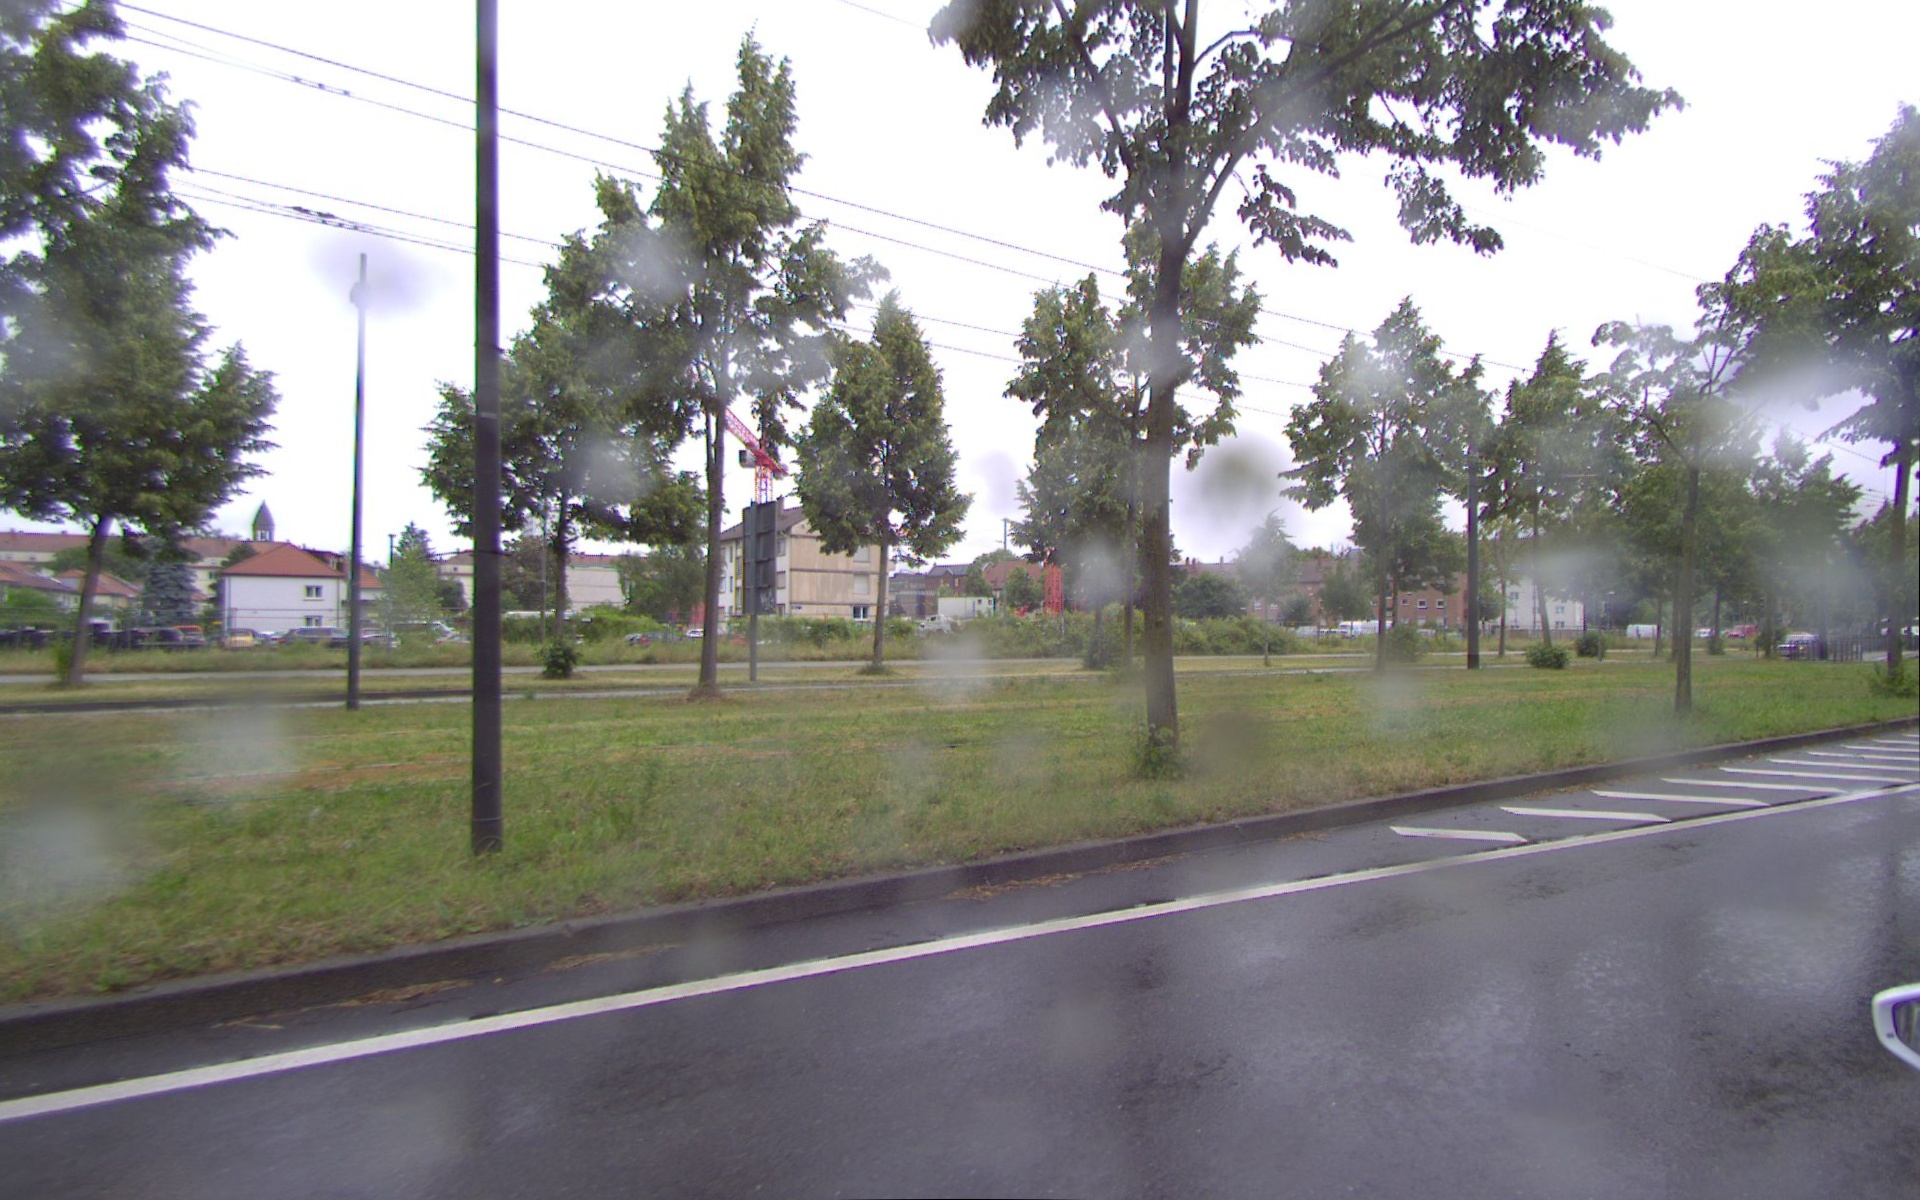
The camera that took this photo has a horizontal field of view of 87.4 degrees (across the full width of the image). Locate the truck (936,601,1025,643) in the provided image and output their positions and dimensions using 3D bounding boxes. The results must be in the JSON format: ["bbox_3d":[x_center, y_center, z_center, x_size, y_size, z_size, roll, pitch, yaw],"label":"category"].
[{"bbox_3d":[3.036,3.057,141.884,6.100,5.468,13.266,-2,0,35],"label":"truck"}]

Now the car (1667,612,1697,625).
[{"bbox_3d":[107.705,2.796,149.819,3.482,1.762,1.701,-2,0,33],"label":"car"}]

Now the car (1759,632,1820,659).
[{"bbox_3d":[46.482,2.522,56.257,4.805,1.283,1.538,0,-1,-36],"label":"car"}]

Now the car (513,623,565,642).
[{"bbox_3d":[-29.099,2.225,69.439,3.207,1.214,1.183,-2,0,-29],"label":"car"}]

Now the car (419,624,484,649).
[{"bbox_3d":[-31.931,2.288,63.101,3.577,1.368,1.315,-2,0,-29],"label":"car"}]

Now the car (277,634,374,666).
[{"bbox_3d":[-31.174,2.448,49.477,3.854,1.368,1.683,-2,0,-29],"label":"car"}]

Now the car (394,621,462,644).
[{"bbox_3d":[-34.714,2.101,65.574,3.854,1.368,1.683,-2,0,-29],"label":"car"}]

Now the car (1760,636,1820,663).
[{"bbox_3d":[46.439,2.795,56.171,4.932,1.314,1.478,4,-4,-37],"label":"car"}]

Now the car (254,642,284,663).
[{"bbox_3d":[-46.141,3.495,67.111,1.297,1.201,3.063,-2,0,-29],"label":"car"}]
